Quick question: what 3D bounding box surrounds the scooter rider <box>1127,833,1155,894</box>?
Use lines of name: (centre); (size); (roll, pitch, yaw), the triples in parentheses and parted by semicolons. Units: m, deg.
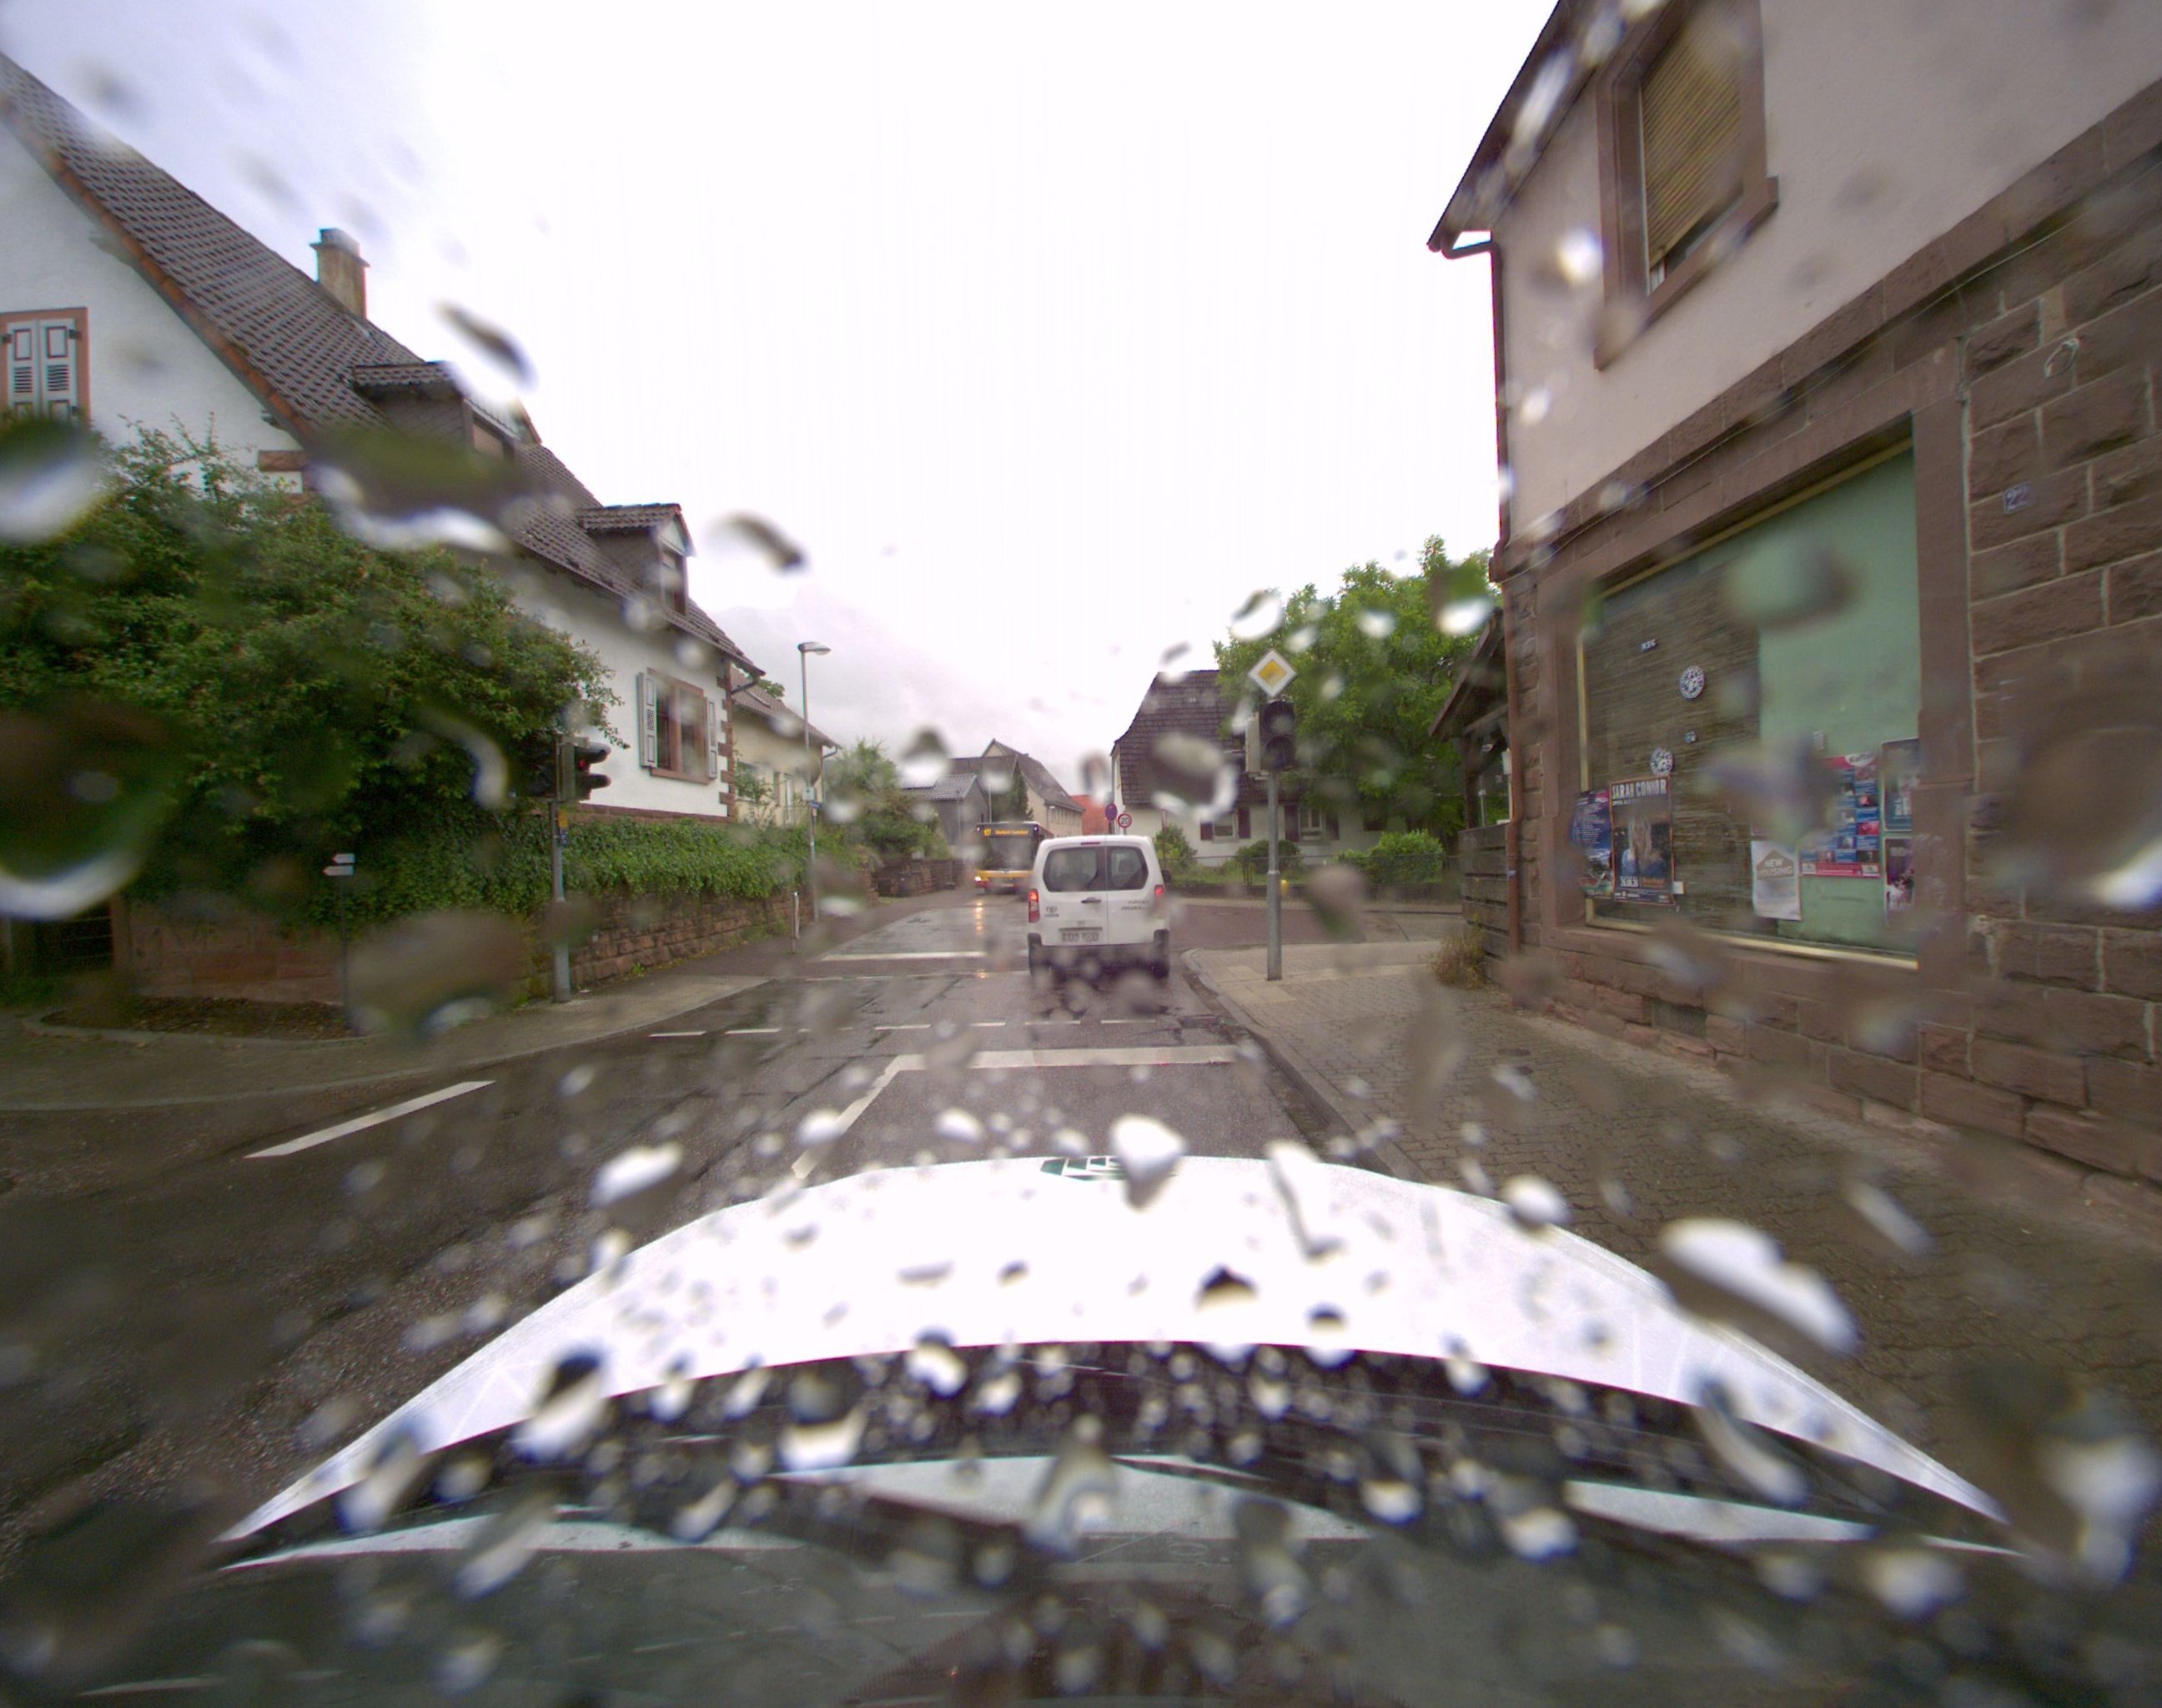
scooter rider: (1.737, 0.272, 23.634); (0.729, 1.733, 0.517); (-2, 1, -4)

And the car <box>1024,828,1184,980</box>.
car: (0.294, 0.596, 11.653); (1.888, 1.794, 3.813); (-1, 0, 0)

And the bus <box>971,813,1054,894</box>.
bus: (-2.786, -0.171, 36.868); (2.641, 2.999, 12.192); (-1, 1, 0)

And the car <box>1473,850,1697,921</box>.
car: (11.134, 0.665, 18.298); (3.957, 1.466, 1.791); (0, -1, 16)

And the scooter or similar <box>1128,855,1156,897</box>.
scooter or similar: (1.749, 0.624, 23.561); (0.619, 1.127, 1.400); (-1, 1, -4)
